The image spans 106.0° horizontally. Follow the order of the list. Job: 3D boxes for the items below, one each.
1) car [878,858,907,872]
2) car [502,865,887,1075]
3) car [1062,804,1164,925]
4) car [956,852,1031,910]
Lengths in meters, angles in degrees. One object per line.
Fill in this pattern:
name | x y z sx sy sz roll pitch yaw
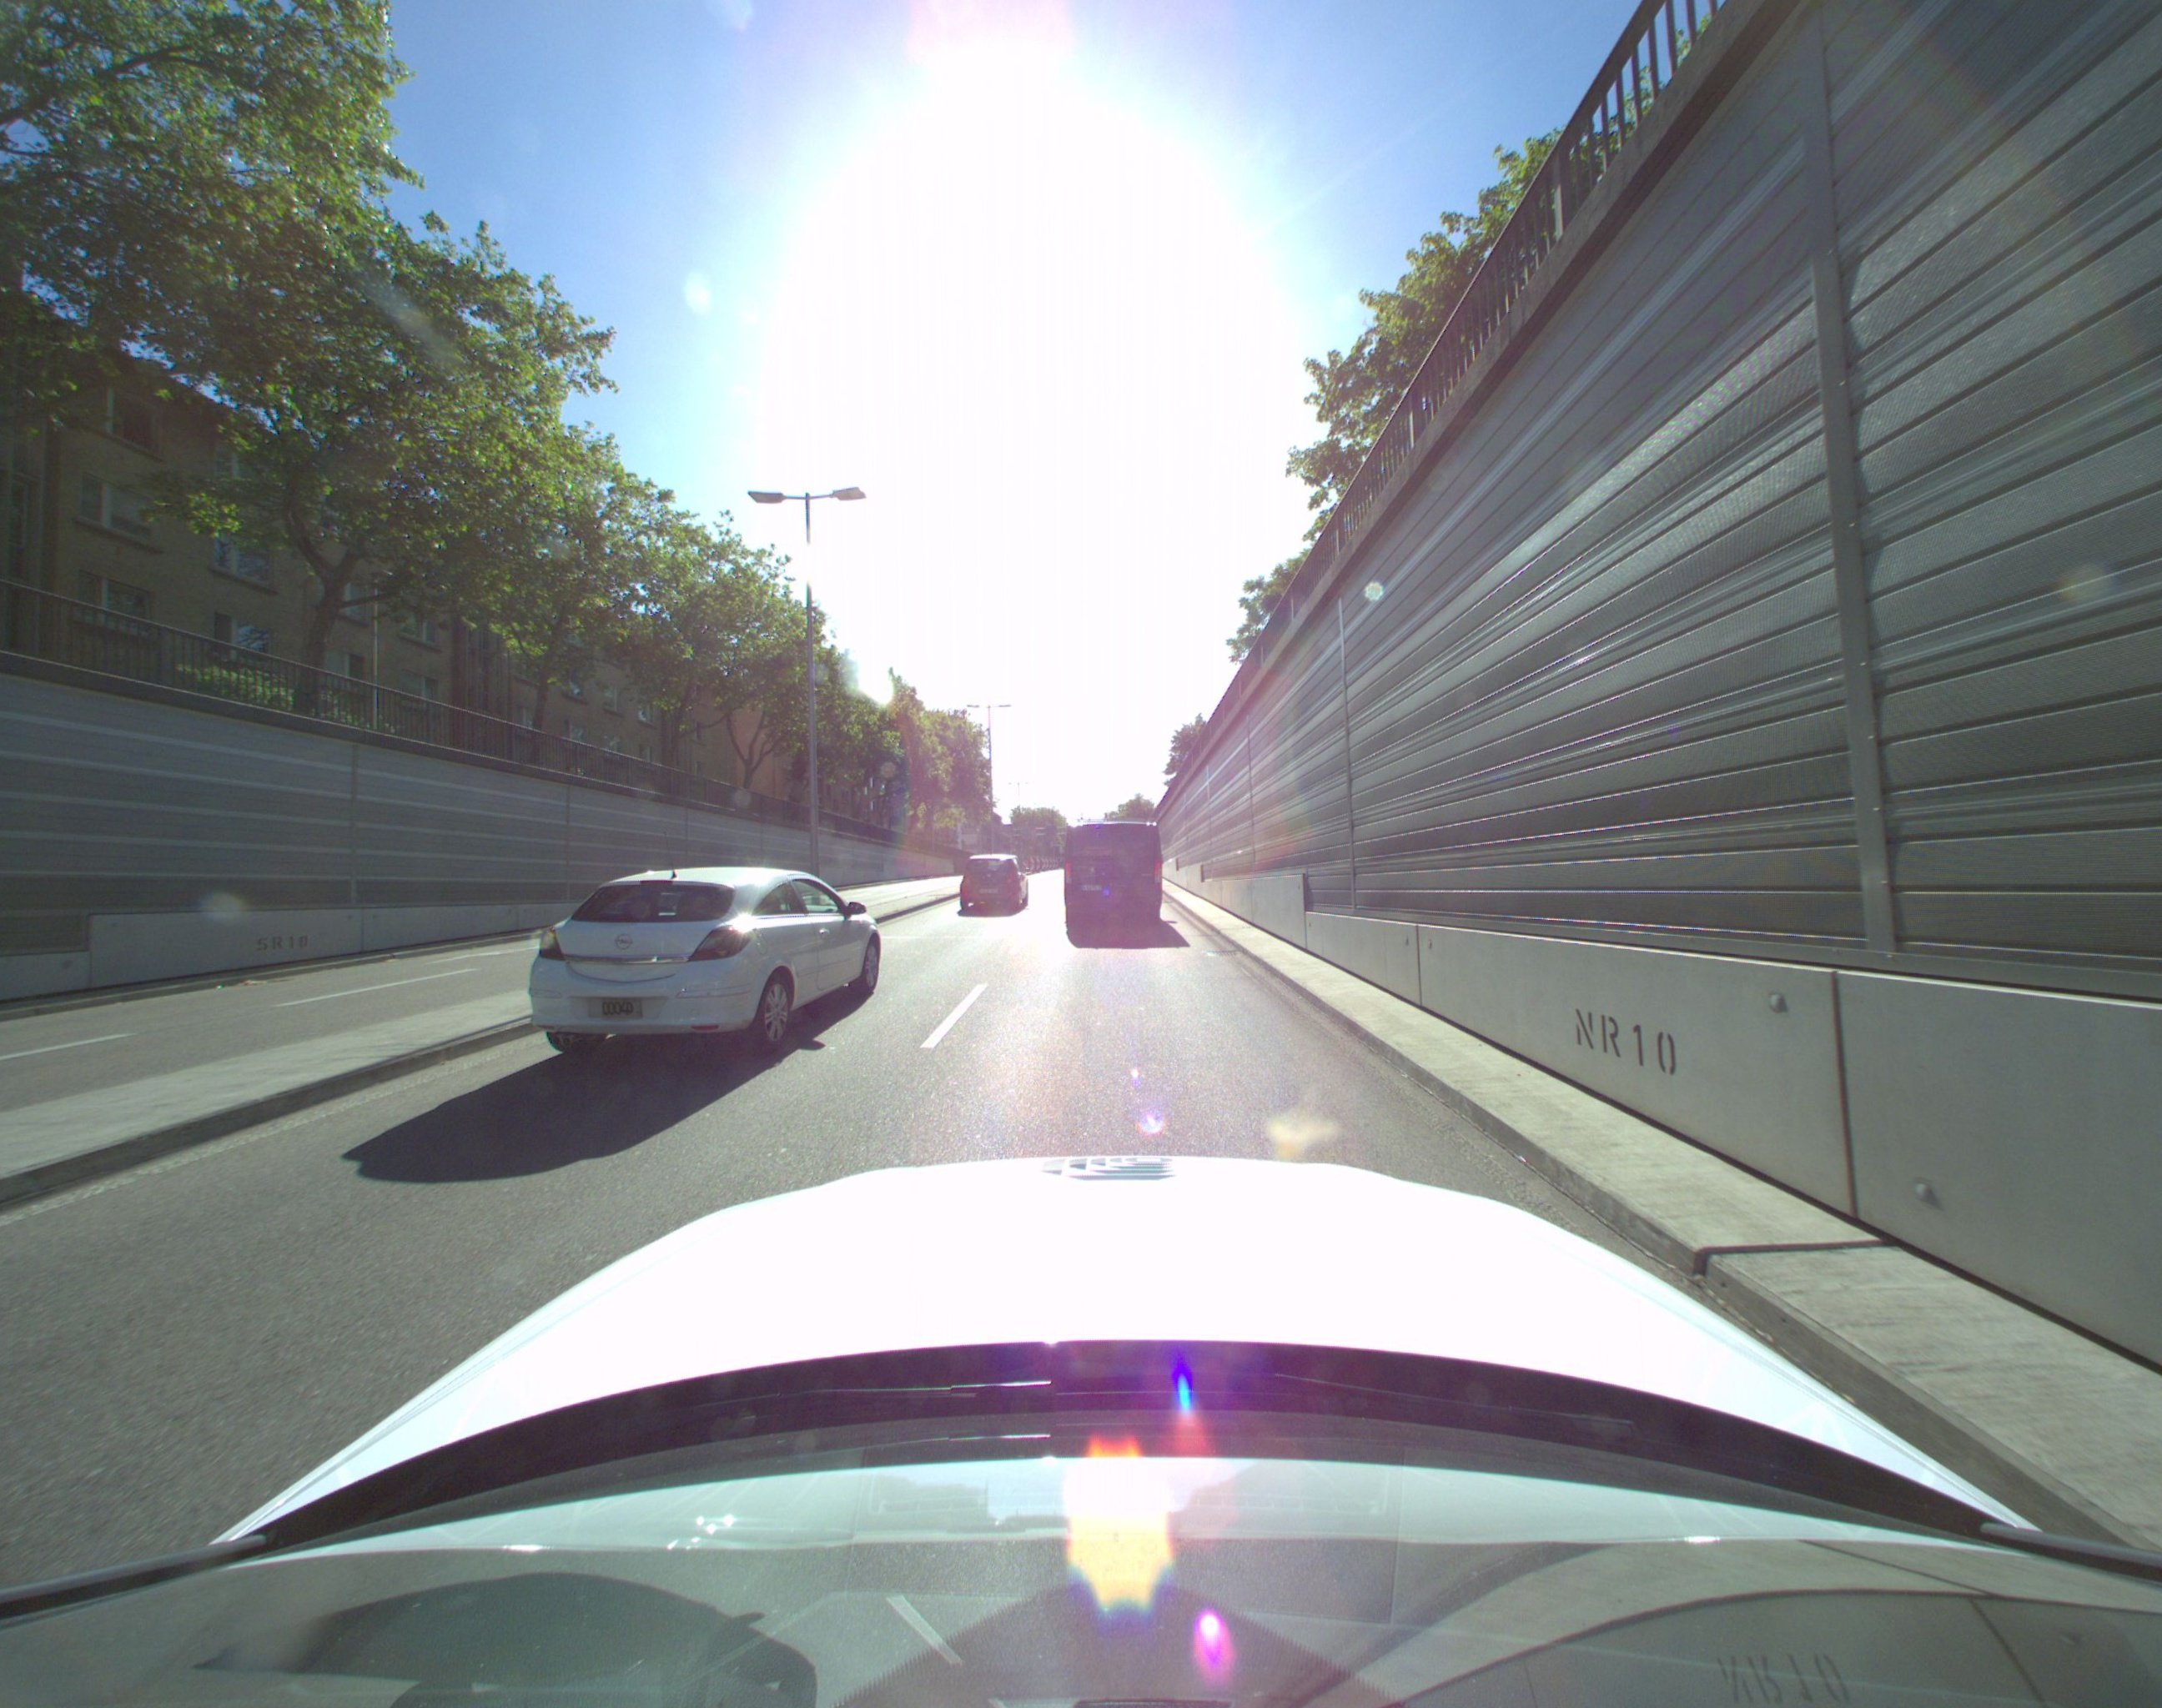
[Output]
car | -19.817 1.225 85.826 1.986 1.389 4.173 -1 -2 2
car | -3.104 0.820 7.498 1.613 1.403 3.853 -1 -1 1
car | 0.711 0.239 18.484 2.022 2.402 3.974 -1 -1 2
car | -2.400 0.703 23.085 1.683 1.483 3.319 -1 0 1
